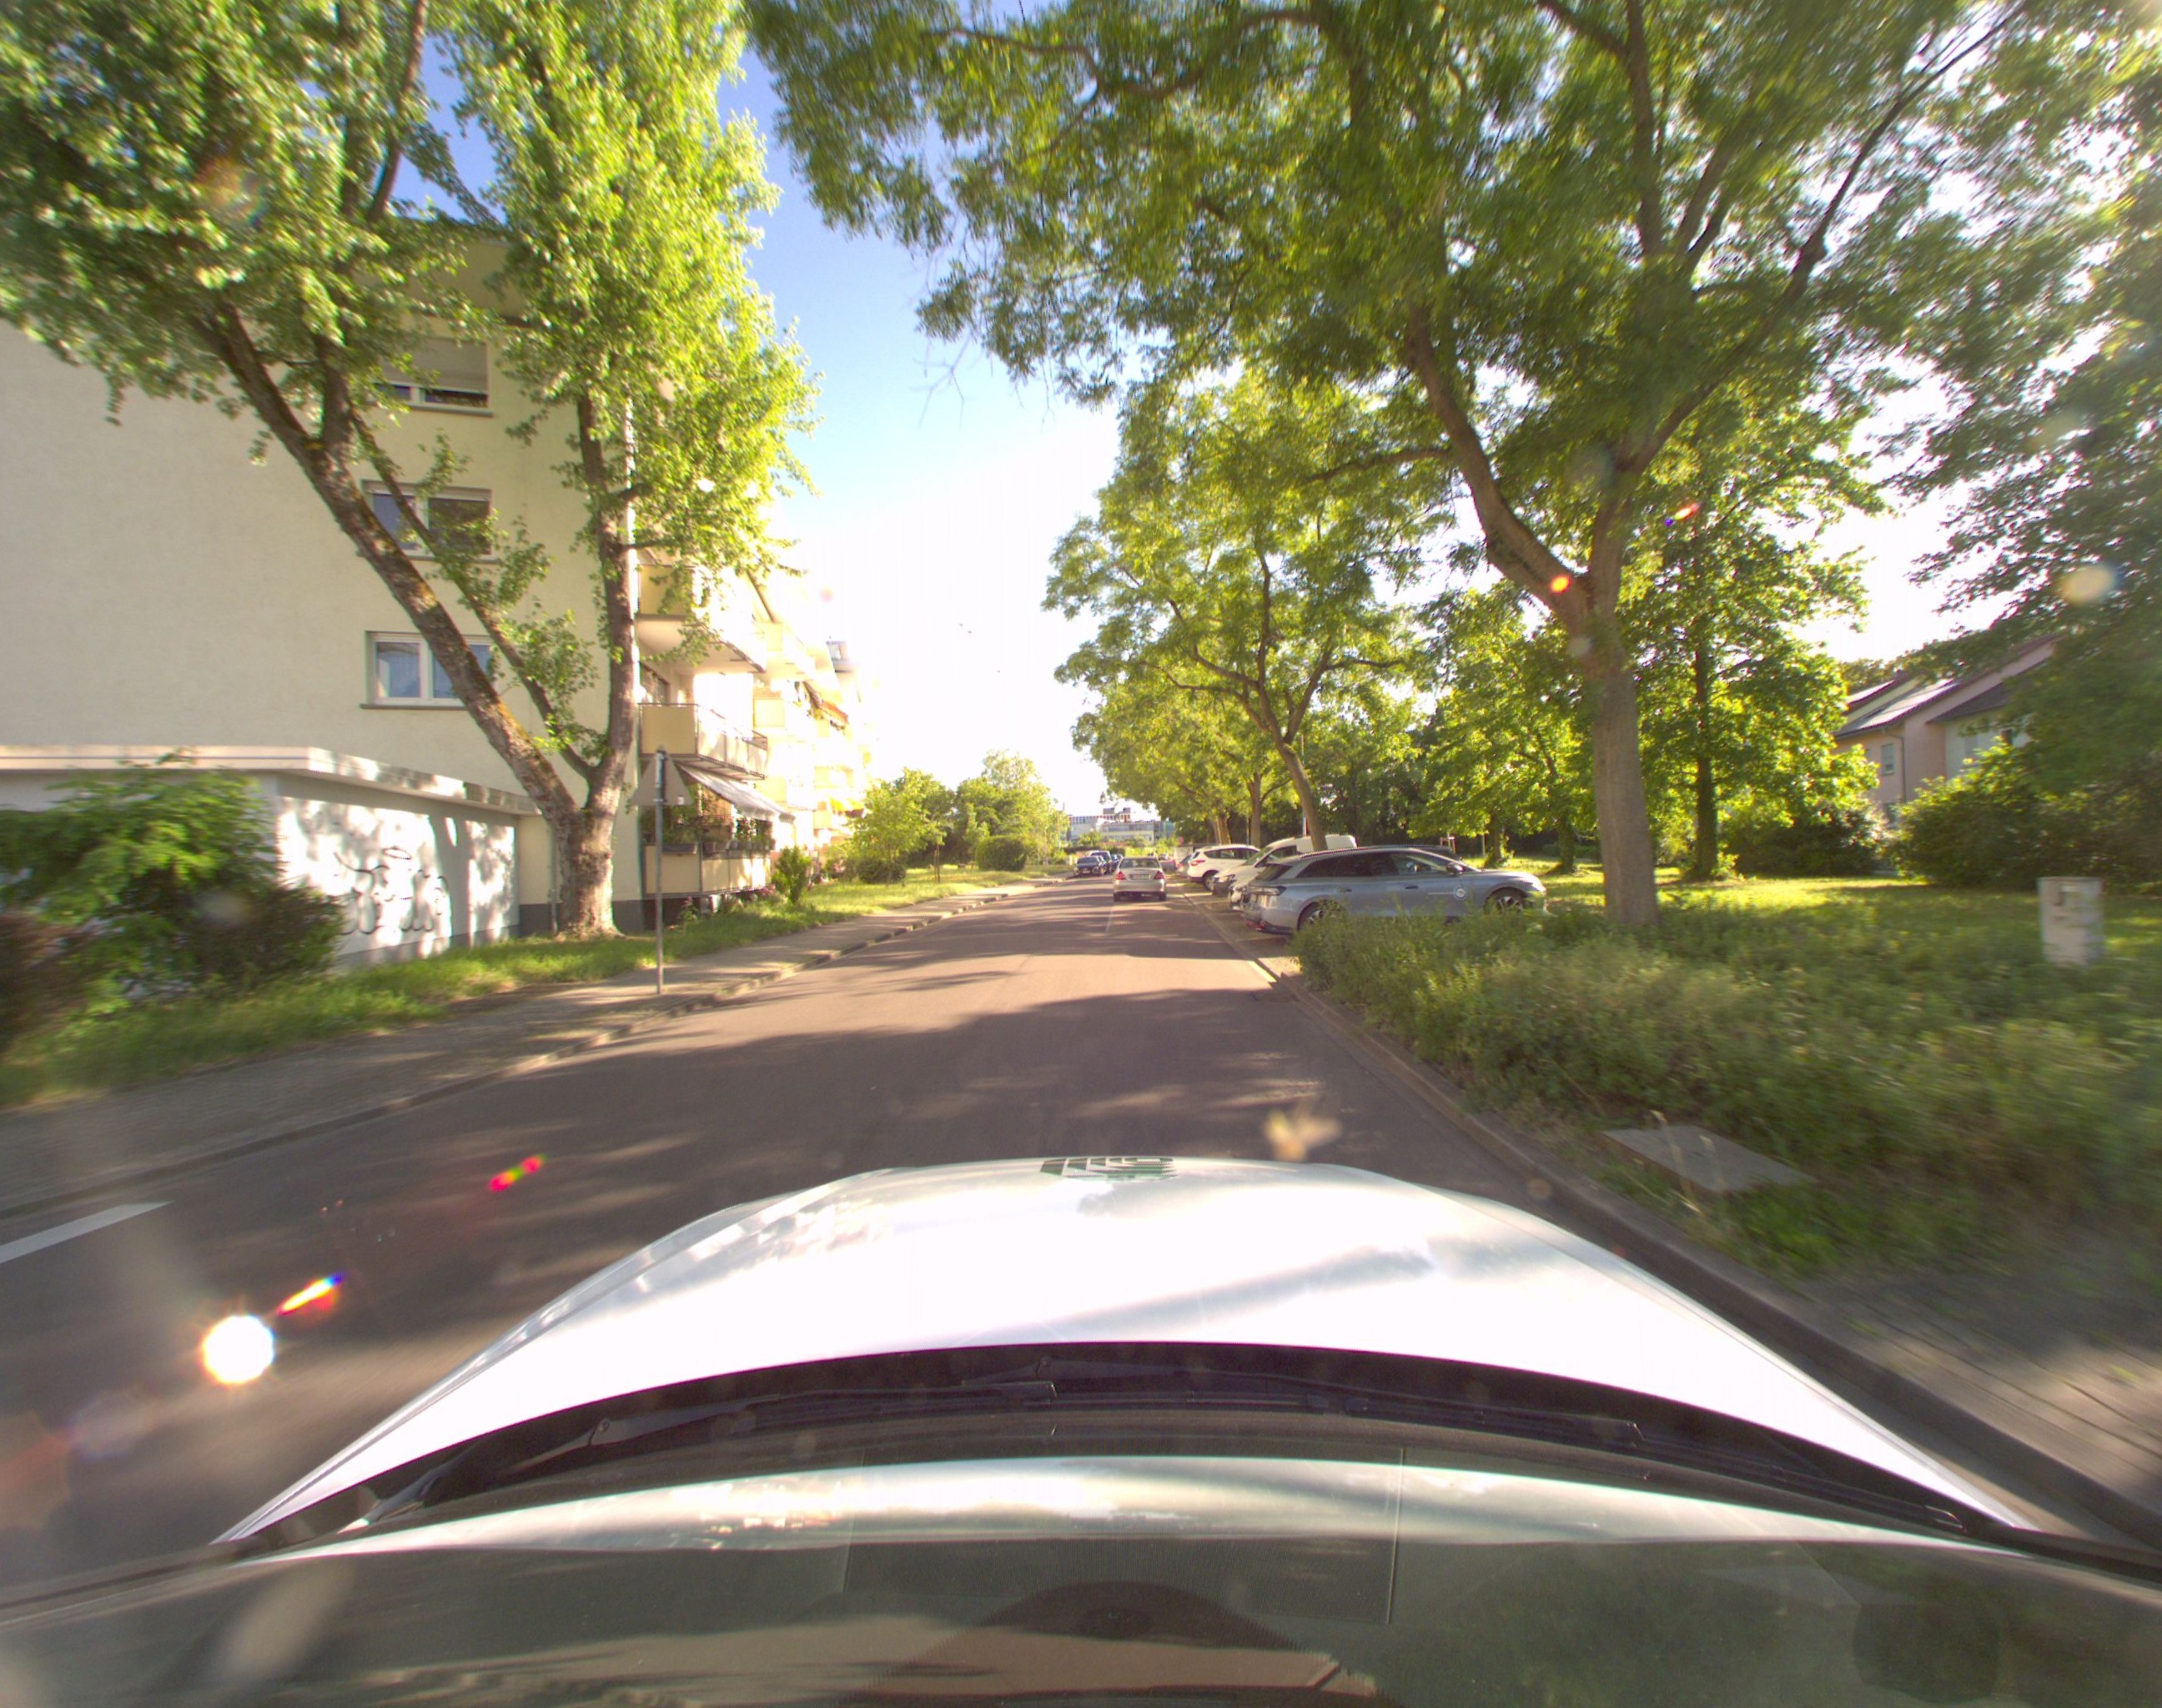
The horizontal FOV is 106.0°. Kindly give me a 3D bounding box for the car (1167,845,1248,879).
[{"bbox_3d":[8.334,0.527,54.063,5.191,2.059,2.003,-2,0,6],"label":"car"}]

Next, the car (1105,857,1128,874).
[{"bbox_3d":[3.602,1.142,81.873,1.740,1.521,4.203,-3,-1,8],"label":"car"}]

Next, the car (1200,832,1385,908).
[{"bbox_3d":[6.137,0.444,24.021,4.873,1.924,1.998,-2,0,-3],"label":"car"}]

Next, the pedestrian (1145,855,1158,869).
[{"bbox_3d":[10.586,1.189,122.341,1.563,2.089,1.729,-2,0,13],"label":"pedestrian"}]

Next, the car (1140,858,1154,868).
[{"bbox_3d":[10.725,1.442,131.655,1.882,1.503,3.667,-2,0,10],"label":"car"}]

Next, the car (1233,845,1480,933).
[{"bbox_3d":[5.405,0.676,16.430,4.407,1.571,1.739,-2,0,4],"label":"car"}]

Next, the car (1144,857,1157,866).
[{"bbox_3d":[11.992,1.234,139.873,1.882,1.503,3.667,-2,0,10],"label":"car"}]

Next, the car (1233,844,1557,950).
[{"bbox_3d":[5.175,0.686,13.956,4.764,1.549,2.012,-2,0,1],"label":"car"}]

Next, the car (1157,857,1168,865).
[{"bbox_3d":[15.707,1.385,157.313,1.882,1.503,3.667,-2,0,10],"label":"car"}]

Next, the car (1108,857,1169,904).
[{"bbox_3d":[1.950,0.846,26.597,1.723,1.434,3.445,-1,-2,8],"label":"car"}]

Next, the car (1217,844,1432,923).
[{"bbox_3d":[5.603,0.656,19.197,4.428,1.517,2.001,-3,0,1],"label":"car"}]

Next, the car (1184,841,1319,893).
[{"bbox_3d":[6.492,0.503,31.466,4.862,1.723,2.003,-3,0,4],"label":"car"}]

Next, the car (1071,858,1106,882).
[{"bbox_3d":[0.557,1.107,56.790,1.903,1.490,3.844,-4,-1,7],"label":"car"}]

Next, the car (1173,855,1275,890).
[{"bbox_3d":[7.273,0.952,41.682,4.867,1.628,2.000,-2,-1,1],"label":"car"}]
